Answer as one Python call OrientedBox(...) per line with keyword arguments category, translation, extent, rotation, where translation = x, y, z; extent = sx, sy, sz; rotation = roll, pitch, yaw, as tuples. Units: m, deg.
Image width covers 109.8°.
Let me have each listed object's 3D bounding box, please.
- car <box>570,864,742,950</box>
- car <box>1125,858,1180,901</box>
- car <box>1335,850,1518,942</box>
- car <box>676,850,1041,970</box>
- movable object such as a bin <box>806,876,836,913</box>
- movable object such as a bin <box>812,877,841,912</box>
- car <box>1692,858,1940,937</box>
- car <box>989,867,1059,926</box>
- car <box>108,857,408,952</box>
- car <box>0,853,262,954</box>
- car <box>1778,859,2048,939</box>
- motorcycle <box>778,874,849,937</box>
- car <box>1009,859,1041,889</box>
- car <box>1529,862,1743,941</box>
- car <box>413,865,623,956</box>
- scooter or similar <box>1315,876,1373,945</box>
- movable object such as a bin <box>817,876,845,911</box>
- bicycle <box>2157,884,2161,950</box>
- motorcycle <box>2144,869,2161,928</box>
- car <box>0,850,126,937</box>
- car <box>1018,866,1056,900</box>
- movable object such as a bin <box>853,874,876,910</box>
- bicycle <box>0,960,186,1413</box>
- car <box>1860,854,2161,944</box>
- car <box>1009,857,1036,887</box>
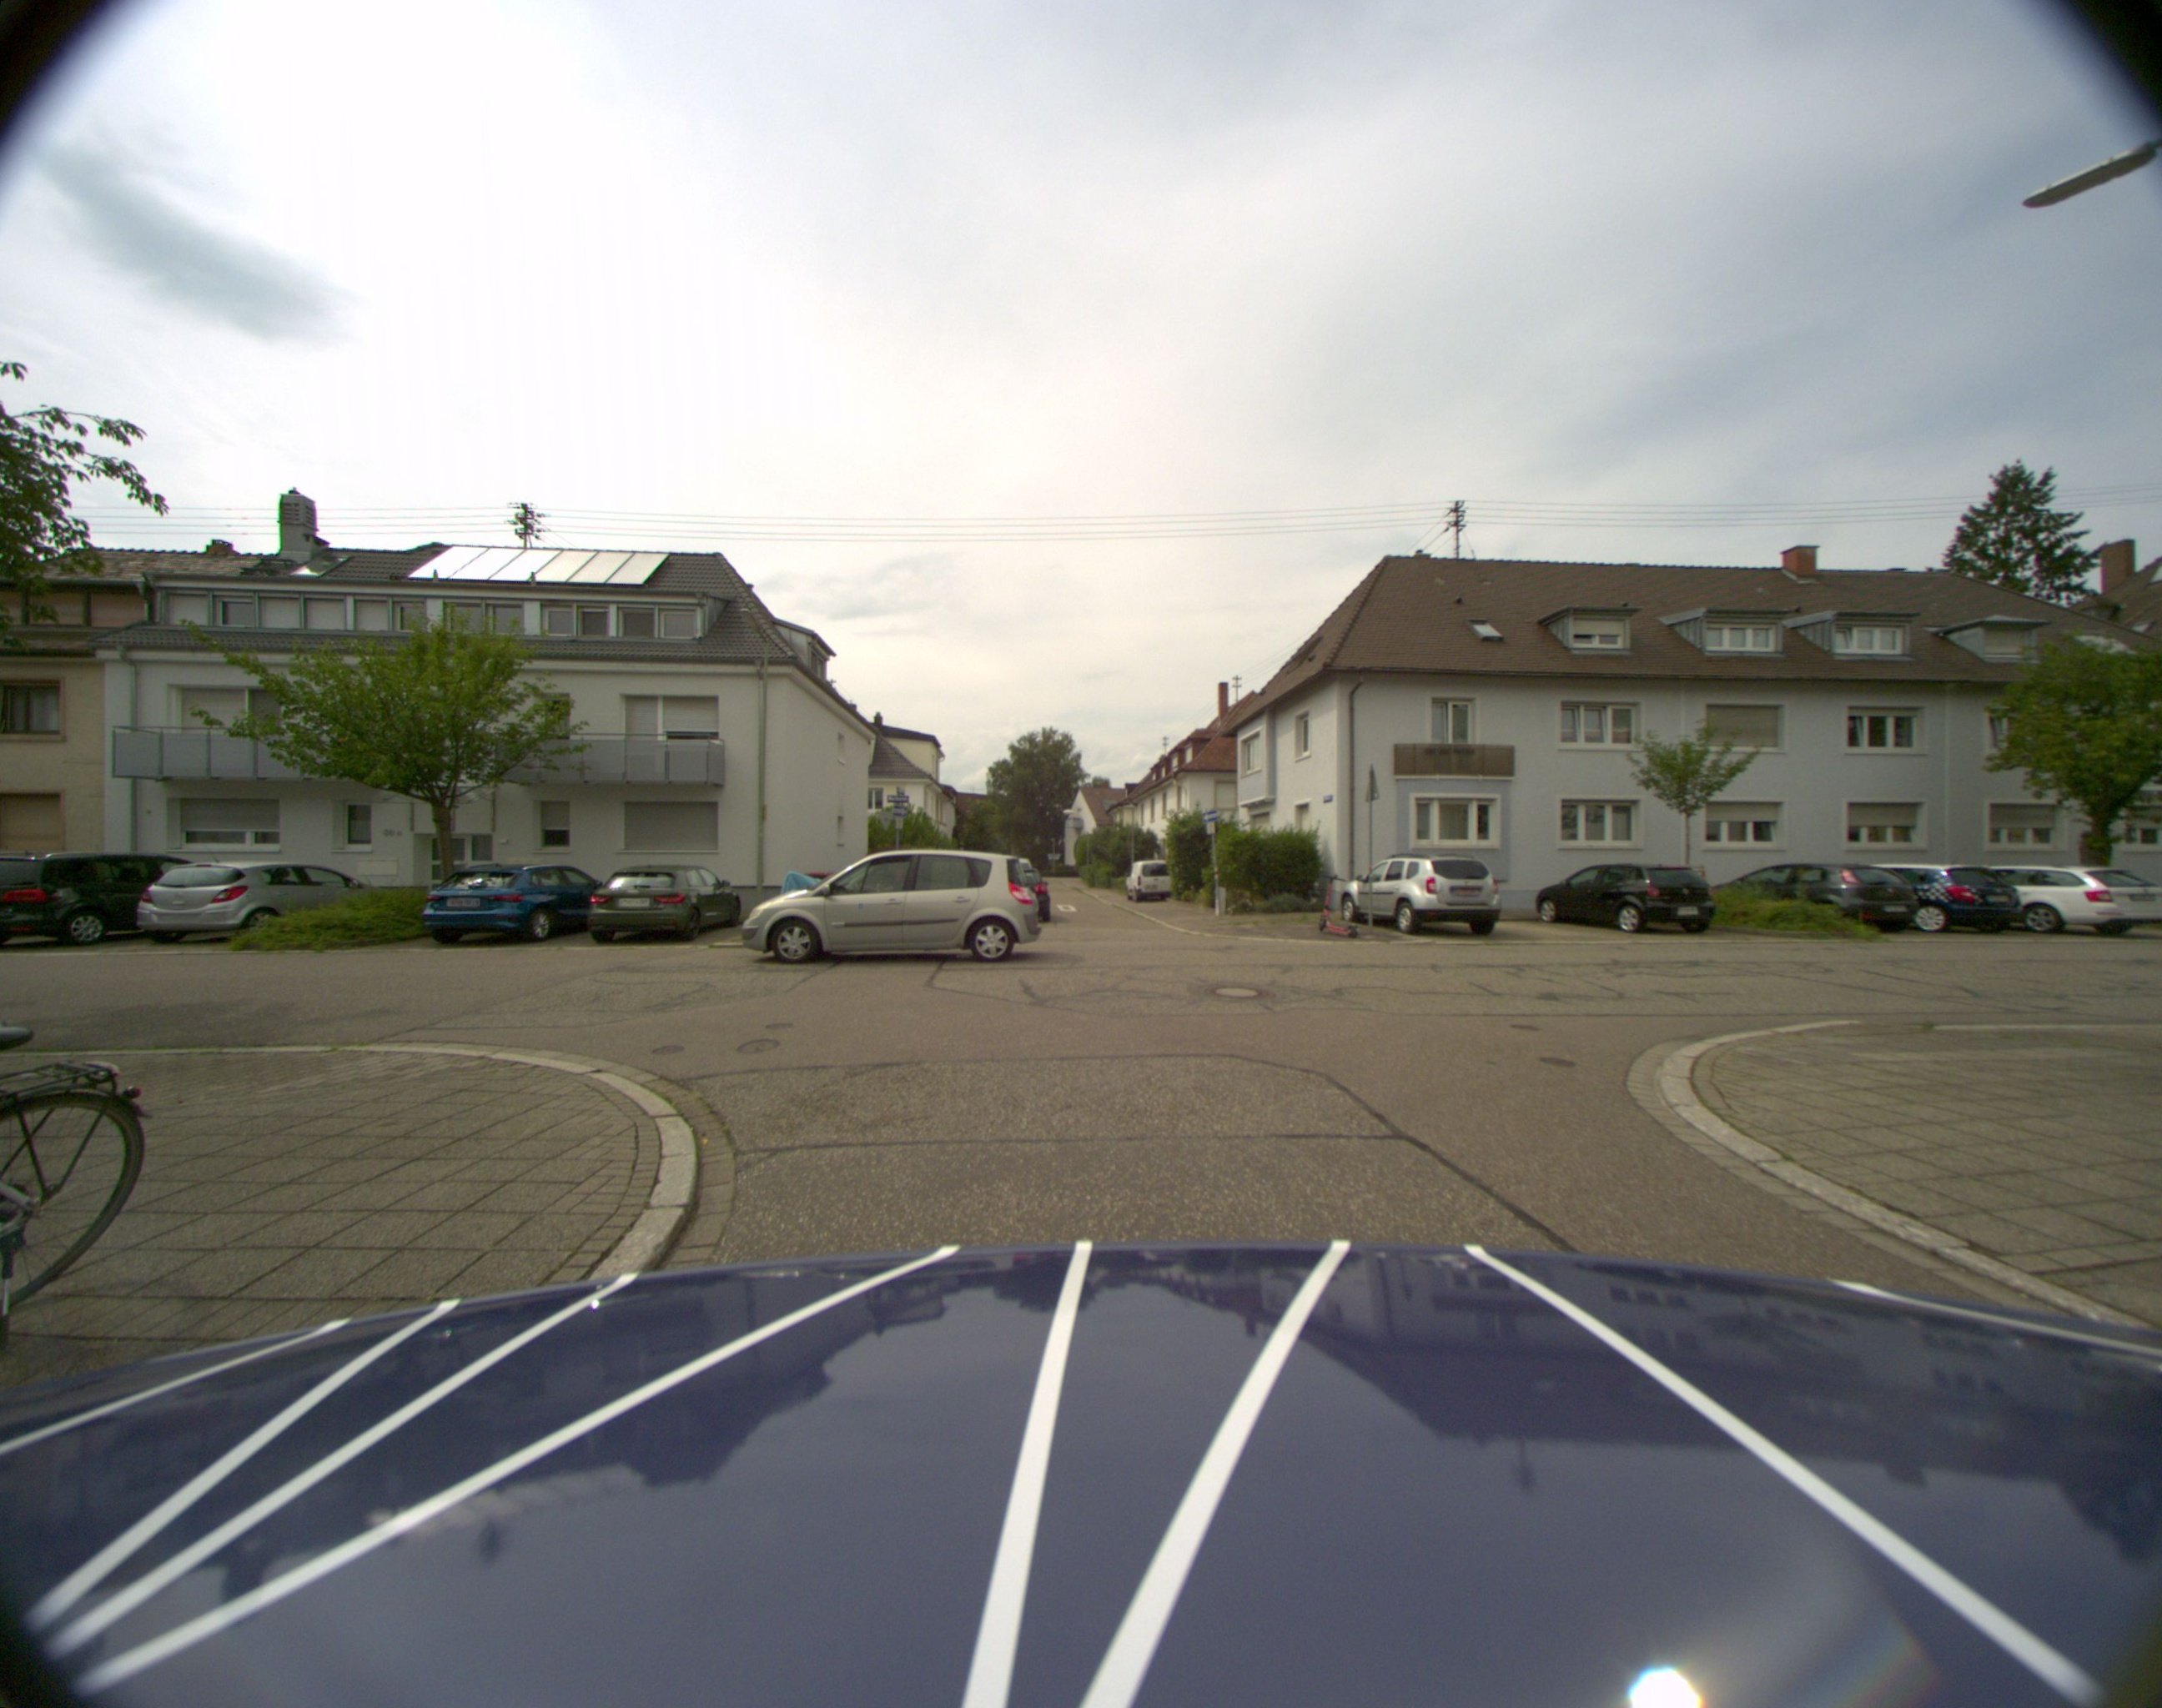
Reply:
OrientedBox(category="car", translation=(-8.271, 0.947, 15.205), extent=(1.773, 1.358, 3.756), rotation=(0, 2, -9))
OrientedBox(category="car", translation=(3.143, 1.085, 34.177), extent=(1.705, 1.795, 3.812), rotation=(-1, 0, -6))
OrientedBox(category="car", translation=(7.286, 0.802, 16.517), extent=(1.867, 1.624, 3.933), rotation=(2, 2, -5))
OrientedBox(category="car", translation=(-3.035, 0.761, 11.185), extent=(4.834, 1.595, 1.789), rotation=(0, 0, -5))
OrientedBox(category="movable object such as a bin", translation=(-7.346, 1.139, 21.469), extent=(0.700, 1.002, 0.520), rotation=(0, 0, -6))
OrientedBox(category="movable object such as a bin", translation=(-7.373, 1.162, 22.058), extent=(0.700, 1.002, 0.520), rotation=(0, 0, -6))
OrientedBox(category="car", translation=(16.796, 0.908, 17.687), extent=(1.712, 1.499, 3.997), rotation=(0, 2, -4))
OrientedBox(category="car", translation=(-1.687, 1.117, 21.380), extent=(1.663, 1.435, 3.811), rotation=(0, 0, -9))
OrientedBox(category="car", translation=(-15.926, 0.873, 15.080), extent=(1.722, 1.510, 3.997), rotation=(0, 2, -4))
OrientedBox(category="car", translation=(-18.328, 0.809, 14.311), extent=(1.772, 1.556, 3.757), rotation=(0, 2, -3))
OrientedBox(category="car", translation=(18.977, 0.935, 17.639), extent=(1.712, 1.499, 3.997), rotation=(0, 2, -4))
OrientedBox(category="motorcycle", translation=(-5.634, 1.043, 16.163), extent=(0.939, 1.203, 2.199), rotation=(0, 0, -6))
OrientedBox(category="car", translation=(-3.440, 1.172, 45.991), extent=(1.806, 1.784, 3.812), rotation=(0, 0, -6))
OrientedBox(category="car", translation=(12.272, 0.968, 17.183), extent=(1.712, 1.414, 3.997), rotation=(0, 2, -4))
OrientedBox(category="car", translation=(-10.633, 0.980, 14.689), extent=(1.558, 1.404, 3.527), rotation=(0, 2, -4))
OrientedBox(category="scooter or similar", translation=(5.148, 1.083, 14.955), extent=(0.422, 1.236, 1.240), rotation=(0, 2, -16))
OrientedBox(category="movable object such as a bin", translation=(-7.421, 1.165, 22.600), extent=(0.700, 1.002, 0.520), rotation=(0, 0, -6))
OrientedBox(category="bicycle", translation=(20.849, 1.158, 13.750), extent=(1.936, 1.220, 0.694), rotation=(0, -1, -4))
OrientedBox(category="motorcycle", translation=(27.619, 1.112, 17.979), extent=(1.031, 1.455, 2.707), rotation=(0, 0, -8))
OrientedBox(category="car", translation=(-21.346, 0.766, 14.253), extent=(1.866, 1.609, 3.998), rotation=(0, 2, -3))
OrientedBox(category="car", translation=(-2.185, 1.362, 36.874), extent=(1.663, 1.509, 3.812), rotation=(0, 0, -6))
OrientedBox(category="movable object such as a bin", translation=(-6.135, 1.067, 21.578), extent=(0.548, 1.002, 0.612), rotation=(0, 0, -8))
OrientedBox(category="bicycle", translation=(-3.152, 0.965, 1.725), extent=(0.435, 1.172, 1.637), rotation=(0, 2, -8))
OrientedBox(category="car", translation=(21.301, 0.893, 17.449), extent=(1.891, 1.654, 4.627), rotation=(0, 2, -3))
OrientedBox(category="car", translation=(-3.924, 1.152, 50.559), extent=(1.663, 1.893, 3.812), rotation=(0, 0, -6))
